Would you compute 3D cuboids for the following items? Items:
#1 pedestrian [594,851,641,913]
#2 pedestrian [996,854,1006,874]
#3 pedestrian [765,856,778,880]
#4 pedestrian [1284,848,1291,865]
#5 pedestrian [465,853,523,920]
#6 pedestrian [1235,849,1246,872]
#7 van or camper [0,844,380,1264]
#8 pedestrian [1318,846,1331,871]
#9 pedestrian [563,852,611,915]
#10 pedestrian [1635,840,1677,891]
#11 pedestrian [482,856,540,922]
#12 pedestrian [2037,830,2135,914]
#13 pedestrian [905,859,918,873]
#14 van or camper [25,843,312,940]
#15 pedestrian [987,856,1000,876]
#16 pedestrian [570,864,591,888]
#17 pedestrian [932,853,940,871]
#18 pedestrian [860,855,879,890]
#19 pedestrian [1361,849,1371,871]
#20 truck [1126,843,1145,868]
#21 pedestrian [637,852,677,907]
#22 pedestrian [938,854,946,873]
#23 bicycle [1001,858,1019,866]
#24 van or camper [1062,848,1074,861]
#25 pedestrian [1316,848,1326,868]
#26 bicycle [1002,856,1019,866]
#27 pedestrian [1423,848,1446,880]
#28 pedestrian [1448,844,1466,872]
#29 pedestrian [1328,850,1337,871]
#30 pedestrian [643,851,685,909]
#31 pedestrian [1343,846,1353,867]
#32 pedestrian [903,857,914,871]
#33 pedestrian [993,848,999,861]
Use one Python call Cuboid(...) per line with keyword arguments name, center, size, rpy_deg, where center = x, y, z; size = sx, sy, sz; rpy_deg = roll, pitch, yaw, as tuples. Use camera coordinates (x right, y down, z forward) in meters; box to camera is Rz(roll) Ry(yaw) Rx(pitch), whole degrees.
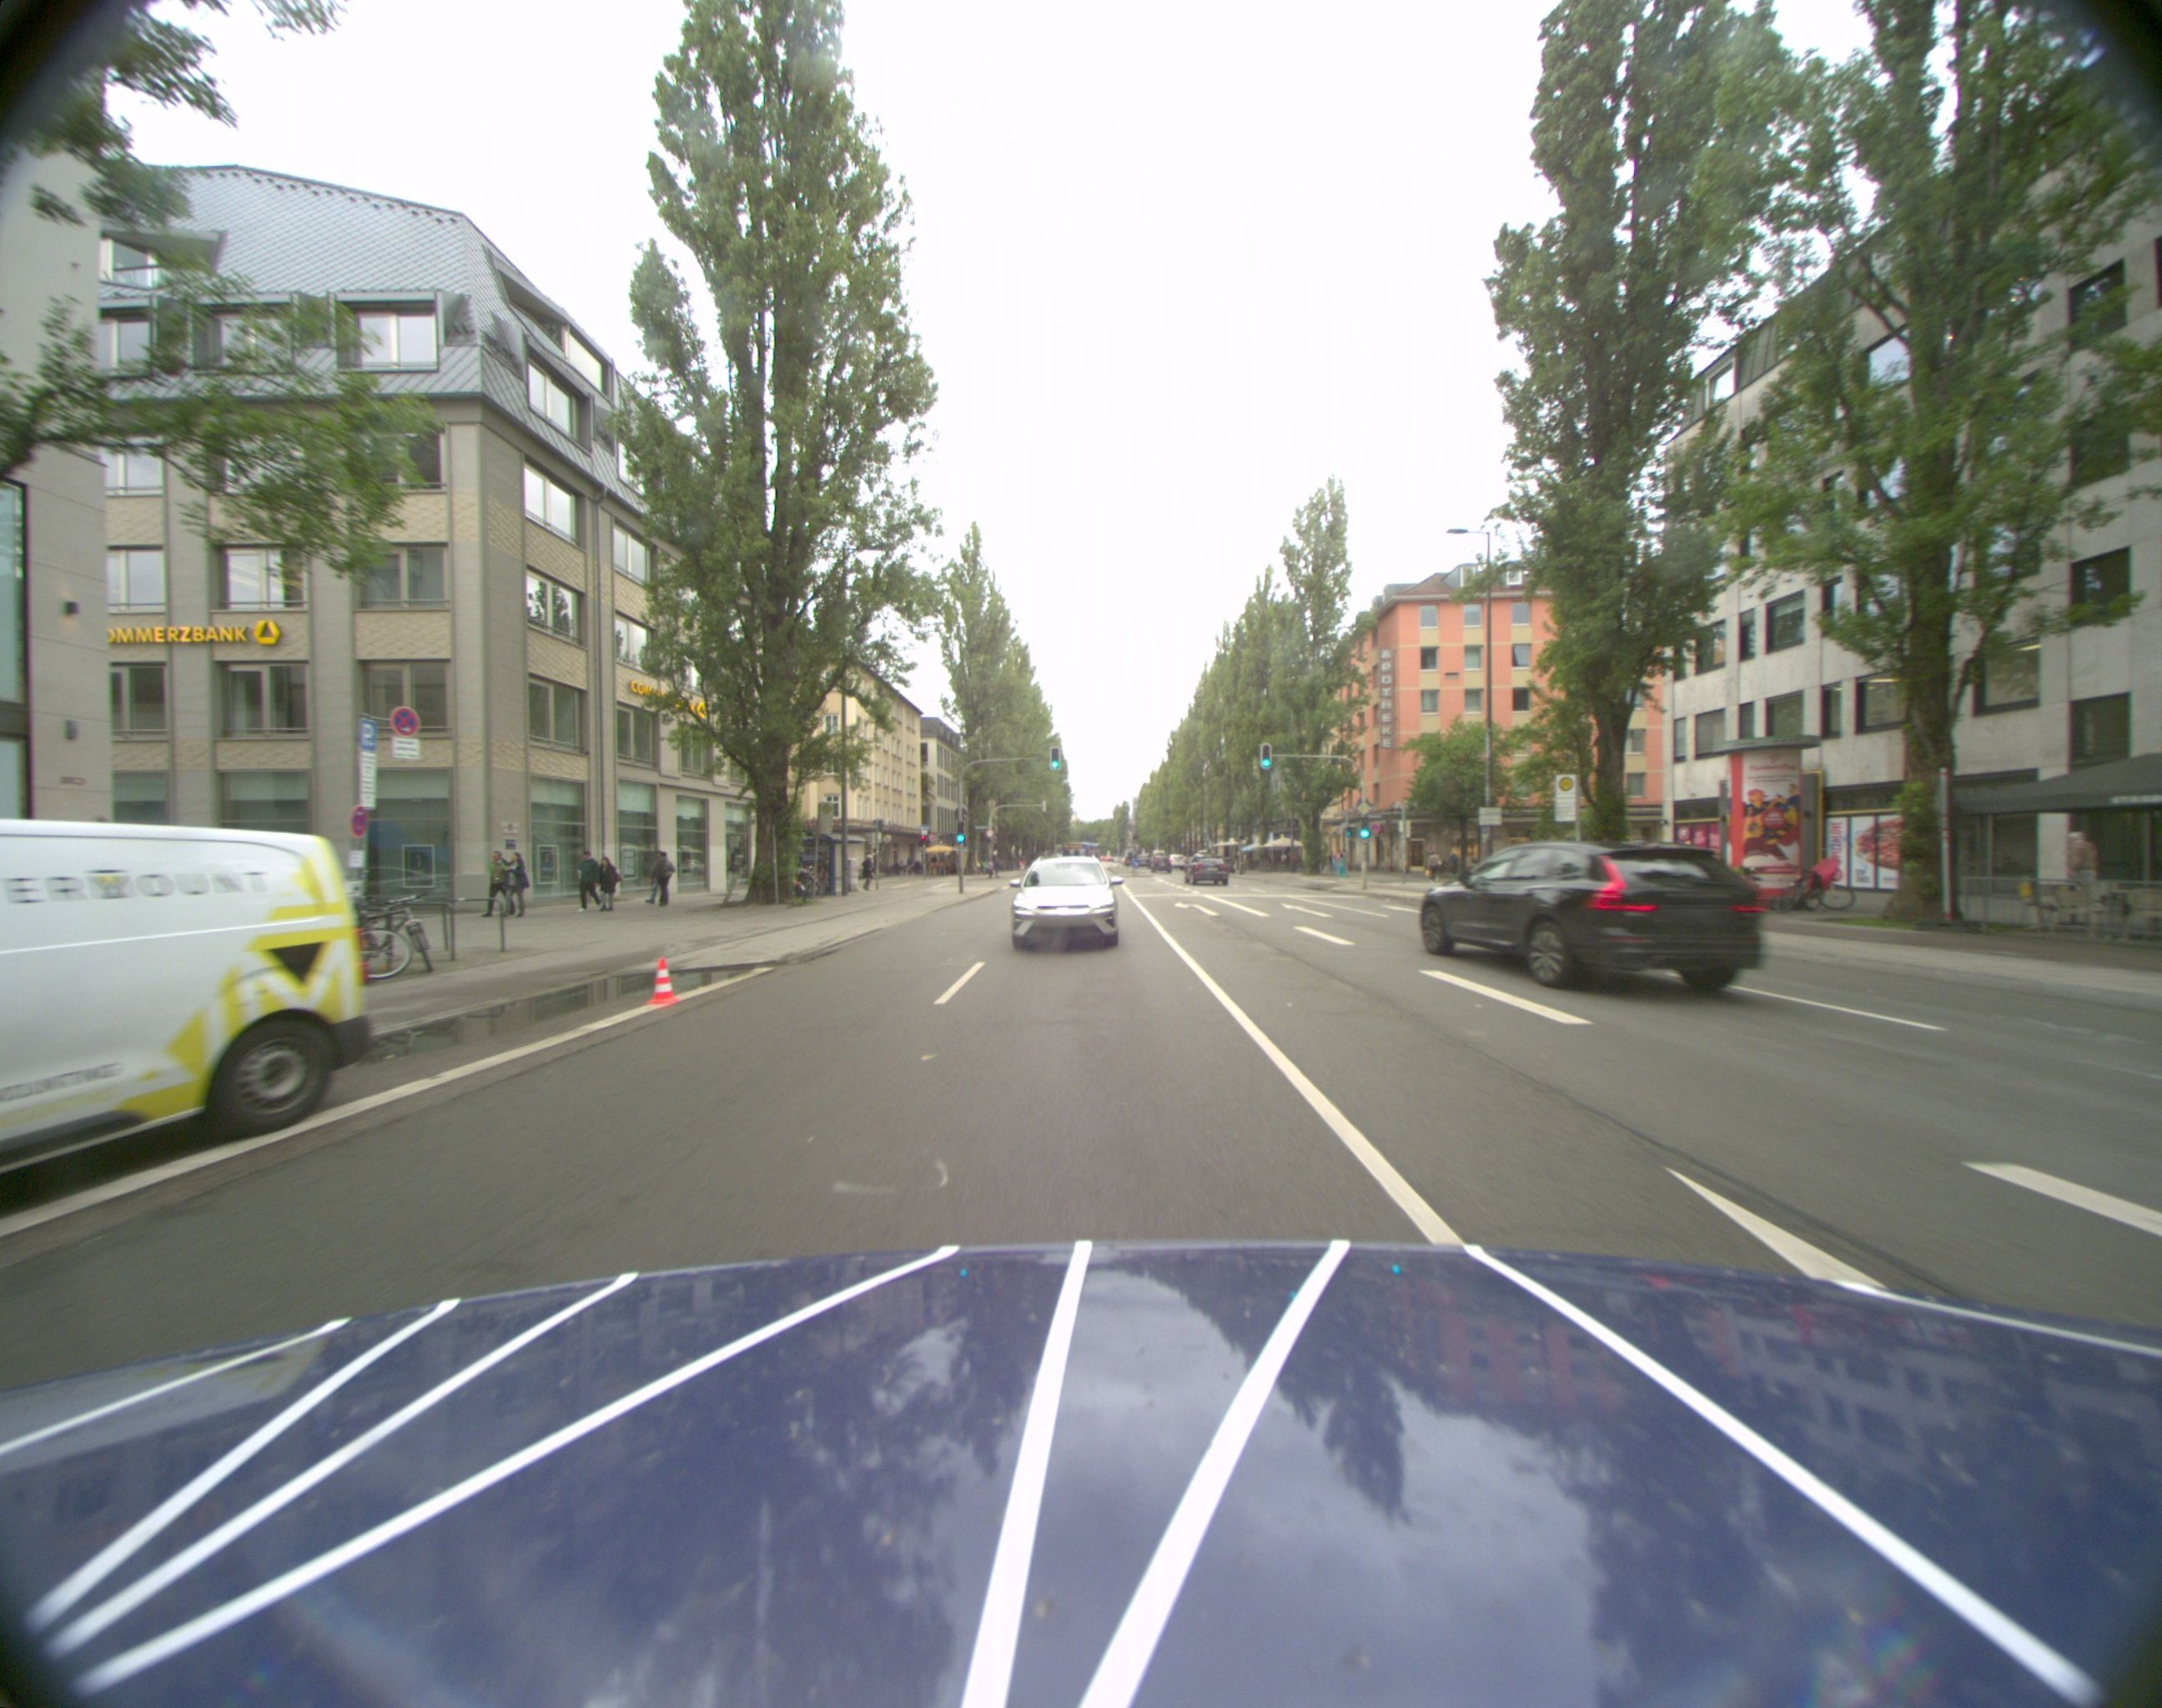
Cuboid(name="pedestrian", center=(-13.573, 0.814, 22.276), size=(0.752, 1.748, 0.859), rpy_deg=(-1, 3, 2))
Cuboid(name="pedestrian", center=(-6.375, 0.804, 60.619), size=(0.767, 1.600, 0.864), rpy_deg=(-1, 1, -3))
Cuboid(name="pedestrian", center=(-20.595, 0.952, 50.602), size=(0.584, 1.548, 0.445), rpy_deg=(-2, 1, 2))
Cuboid(name="pedestrian", center=(21.502, 0.234, 79.254), size=(0.556, 1.708, 0.692), rpy_deg=(-1, 1, 0))
Cuboid(name="pedestrian", center=(-15.536, 0.844, 20.133), size=(0.752, 1.708, 0.963), rpy_deg=(-1, 1, 2))
Cuboid(name="pedestrian", center=(12.590, 0.490, 59.991), size=(0.736, 1.785, 0.994), rpy_deg=(-2, 1, 19))
Cuboid(name="van or camper", center=(-5.774, 0.915, 2.722), size=(1.873, 1.872, 4.903), rpy_deg=(-1, 0, 1))
Cuboid(name="pedestrian", center=(17.430, 0.347, 54.408), size=(0.726, 1.761, 0.778), rpy_deg=(-1, 1, 2))
Cuboid(name="pedestrian", center=(-14.363, 0.844, 22.109), size=(0.752, 1.748, 0.859), rpy_deg=(-1, 3, 2))
Cuboid(name="pedestrian", center=(20.062, 0.377, 26.531), size=(0.729, 1.730, 0.942), rpy_deg=(-2, 1, 1))
Cuboid(name="pedestrian", center=(-14.733, 0.891, 19.661), size=(0.752, 1.667, 0.963), rpy_deg=(0, 1, 2))
Cuboid(name="pedestrian", center=(21.511, 0.371, 16.285), size=(0.845, 1.734, 0.954), rpy_deg=(-2, 1, 2))
Cuboid(name="pedestrian", center=(-14.480, 1.008, 64.854), size=(0.870, 1.192, 0.699), rpy_deg=(-1, 1, 2))
Cuboid(name="van or camper", center=(-19.641, 0.772, 16.481), size=(4.113, 1.856, 1.898), rpy_deg=(-2, 1, 5))
Cuboid(name="pedestrian", center=(-6.794, 0.952, 58.793), size=(0.620, 1.509, 0.767), rpy_deg=(-3, 4, -45))
Cuboid(name="pedestrian", center=(-36.569, 1.599, 55.481), size=(1.001, 1.758, 0.677), rpy_deg=(-2, 1, 10))
Cuboid(name="pedestrian", center=(-13.251, 0.737, 69.494), size=(0.541, 1.664, 0.537), rpy_deg=(-1, 1, 8))
Cuboid(name="pedestrian", center=(-10.697, 0.916, 38.460), size=(0.710, 1.748, 0.752), rpy_deg=(-1, 1, 2))
Cuboid(name="pedestrian", center=(22.422, 0.481, 59.863), size=(0.588, 1.681, 0.514), rpy_deg=(0, 1, 1))
Cuboid(name="truck", center=(8.238, 0.129, 115.773), size=(2.469, 3.649, 8.438), rpy_deg=(-1, 1, 1))
Cuboid(name="pedestrian", center=(-14.362, 0.841, 25.750), size=(0.820, 1.807, 0.890), rpy_deg=(-1, 1, 0))
Cuboid(name="pedestrian", center=(-12.250, 0.805, 67.120), size=(0.541, 1.664, 0.537), rpy_deg=(-1, 1, 8))
Cuboid(name="bicycle", center=(-8.295, 0.957, 88.527), size=(2.005, 0.939, 0.286), rpy_deg=(-1, 1, -7))
Cuboid(name="van or camper", center=(-2.060, 0.062, 121.871), size=(1.795, 1.894, 4.566), rpy_deg=(-1, 0, 2))
Cuboid(name="pedestrian", center=(19.196, 0.336, 60.817), size=(0.658, 1.574, 0.548), rpy_deg=(-1, 1, 2))
Cuboid(name="bicycle", center=(-8.204, 0.839, 88.197), size=(2.005, 1.077, 0.286), rpy_deg=(-1, 1, -8))
Cuboid(name="pedestrian", center=(18.164, 0.498, 39.040), size=(0.780, 1.609, 0.934), rpy_deg=(-1, 1, 1))
Cuboid(name="pedestrian", center=(23.613, 0.249, 47.732), size=(0.780, 1.756, 0.692), rpy_deg=(-1, 1, 1))
Cuboid(name="pedestrian", center=(20.062, 0.484, 60.693), size=(0.508, 1.661, 0.626), rpy_deg=(-1, 1, 2))
Cuboid(name="pedestrian", center=(-13.375, 0.813, 24.405), size=(0.820, 1.807, 0.890), rpy_deg=(-1, 1, 0))
Cuboid(name="pedestrian", center=(21.349, 0.222, 60.781), size=(0.631, 1.679, 0.519), rpy_deg=(-2, 1, 2))
Cuboid(name="pedestrian", center=(-15.217, 0.864, 67.084), size=(0.777, 1.257, 0.699), rpy_deg=(-1, 1, 2))
Cuboid(name="pedestrian", center=(-11.335, 0.064, 100.920), size=(0.658, 1.840, 0.906), rpy_deg=(-1, 1, 3))
